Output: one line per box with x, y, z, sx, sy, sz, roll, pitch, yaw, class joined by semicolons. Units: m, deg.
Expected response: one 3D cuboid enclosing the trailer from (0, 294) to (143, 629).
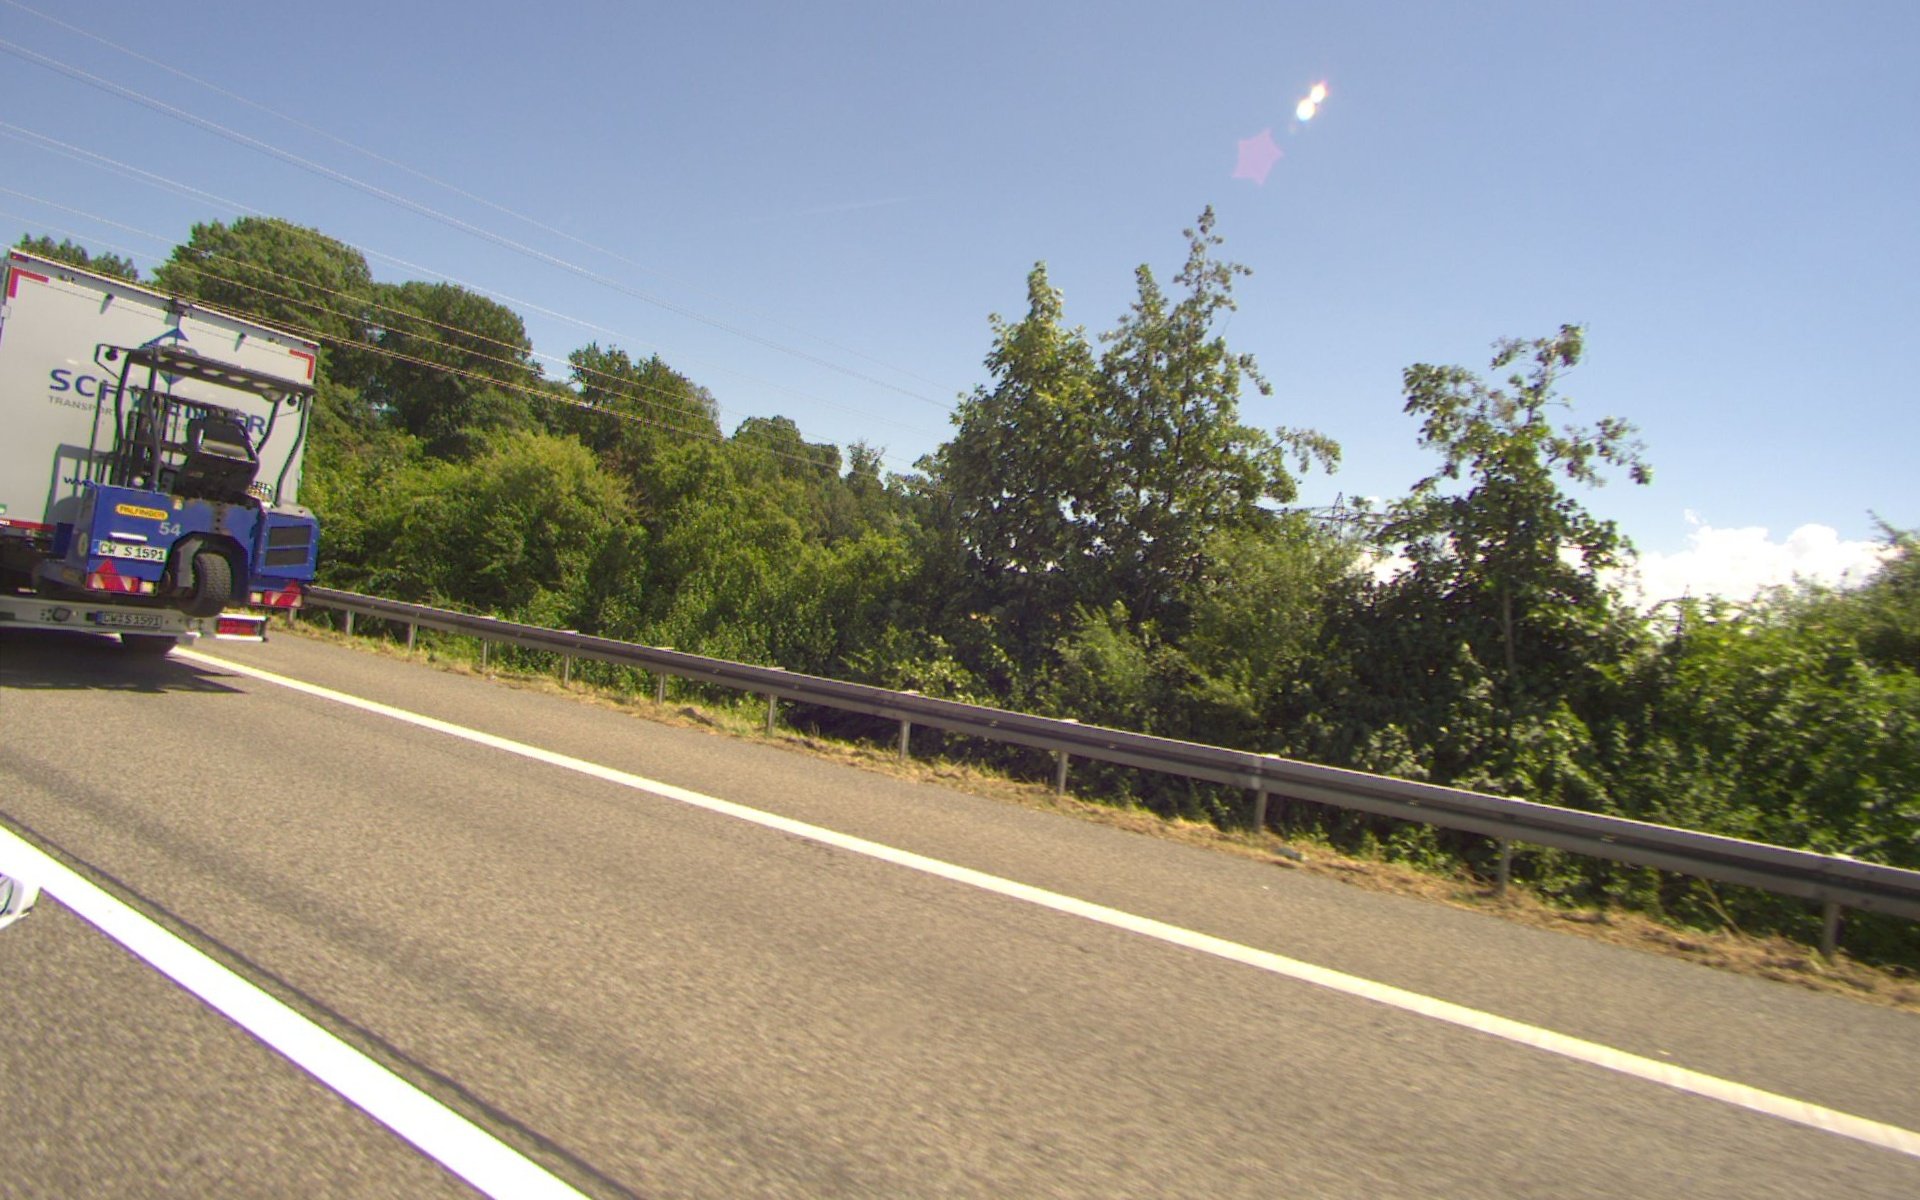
-15.237;-2.116;14.392;7.196;4.088;2.926;6;-2;32;trailer

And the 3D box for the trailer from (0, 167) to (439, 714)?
-9.599;-1.427;10.876;7.993;4.110;2.951;6;-2;32;trailer
